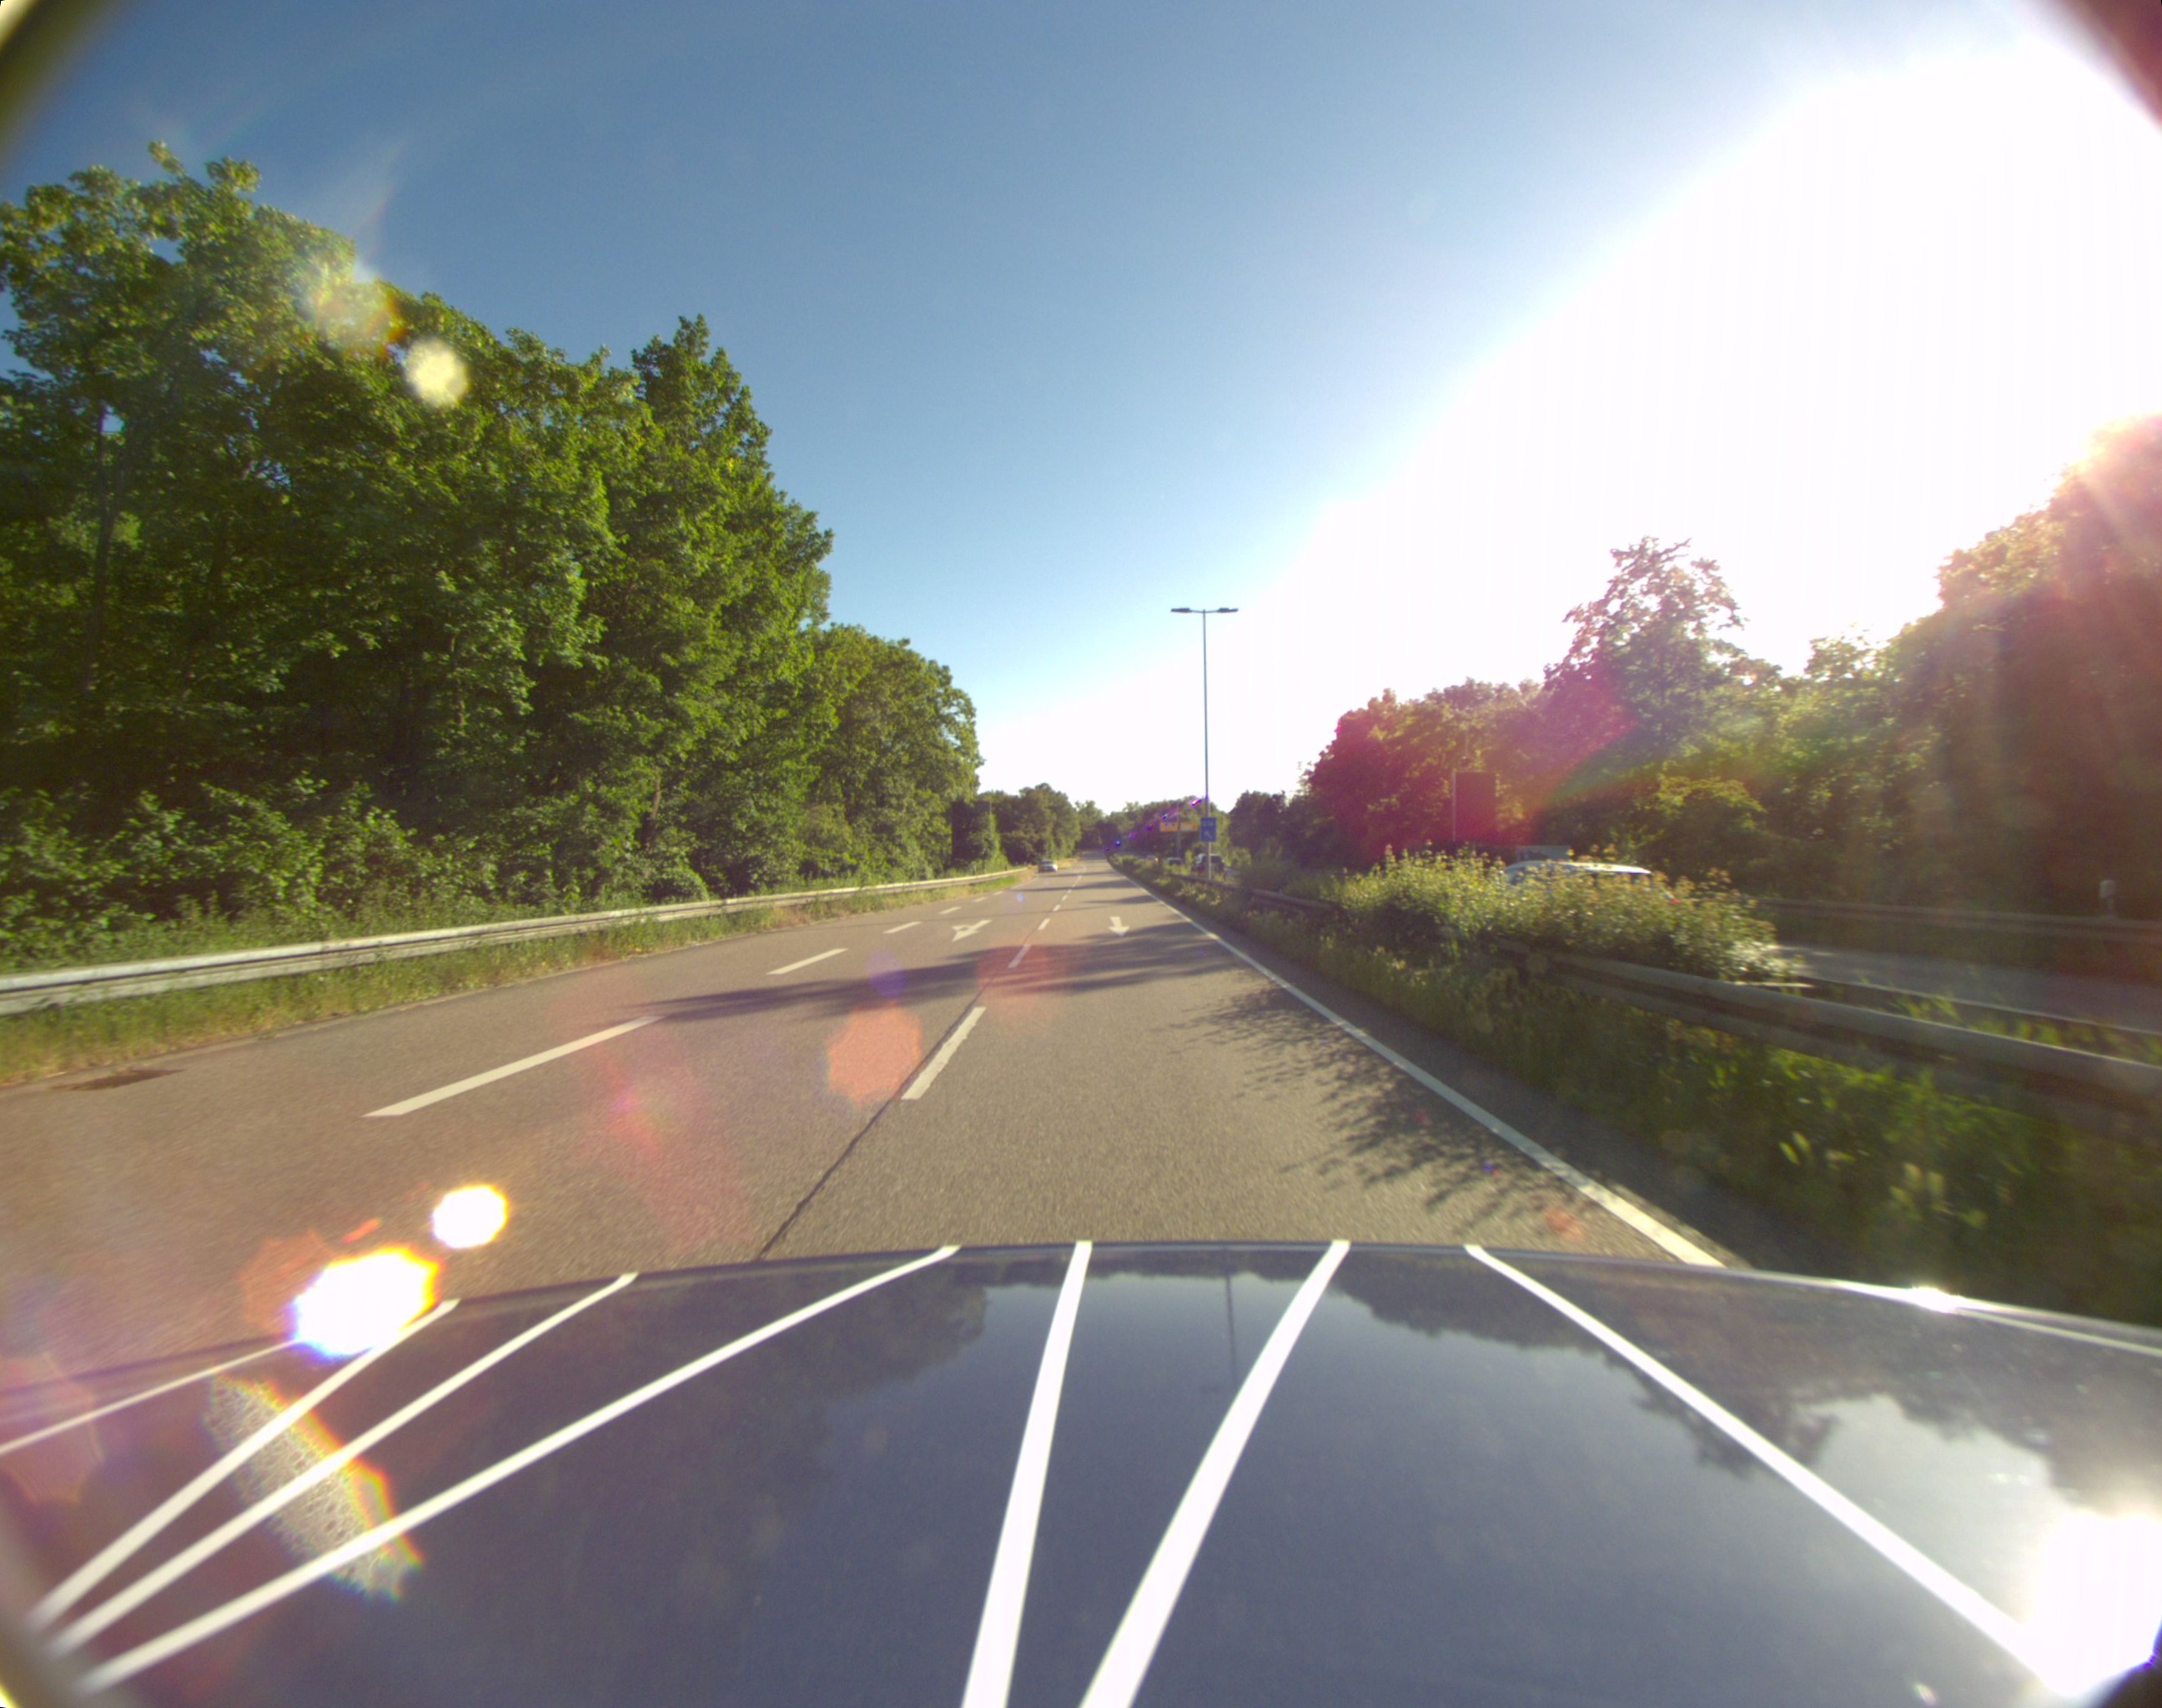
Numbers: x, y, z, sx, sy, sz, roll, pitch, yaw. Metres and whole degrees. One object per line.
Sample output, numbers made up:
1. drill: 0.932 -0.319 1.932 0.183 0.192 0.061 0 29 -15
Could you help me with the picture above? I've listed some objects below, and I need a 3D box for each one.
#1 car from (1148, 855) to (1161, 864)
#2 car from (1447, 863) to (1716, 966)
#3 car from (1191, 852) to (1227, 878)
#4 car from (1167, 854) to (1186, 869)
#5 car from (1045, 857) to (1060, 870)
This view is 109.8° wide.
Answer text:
1. car: 11.496 0.805 119.200 1.785 1.395 4.553 0 0 3
2. car: 8.378 0.903 13.317 1.756 1.441 4.432 0 0 -1
3. car: 8.903 0.758 53.105 1.846 1.747 4.712 0 0 1
4. car: 10.038 0.813 79.892 1.622 1.521 4.609 0 0 3
5. car: -3.312 1.072 89.002 1.682 1.477 3.390 0 -1 0
